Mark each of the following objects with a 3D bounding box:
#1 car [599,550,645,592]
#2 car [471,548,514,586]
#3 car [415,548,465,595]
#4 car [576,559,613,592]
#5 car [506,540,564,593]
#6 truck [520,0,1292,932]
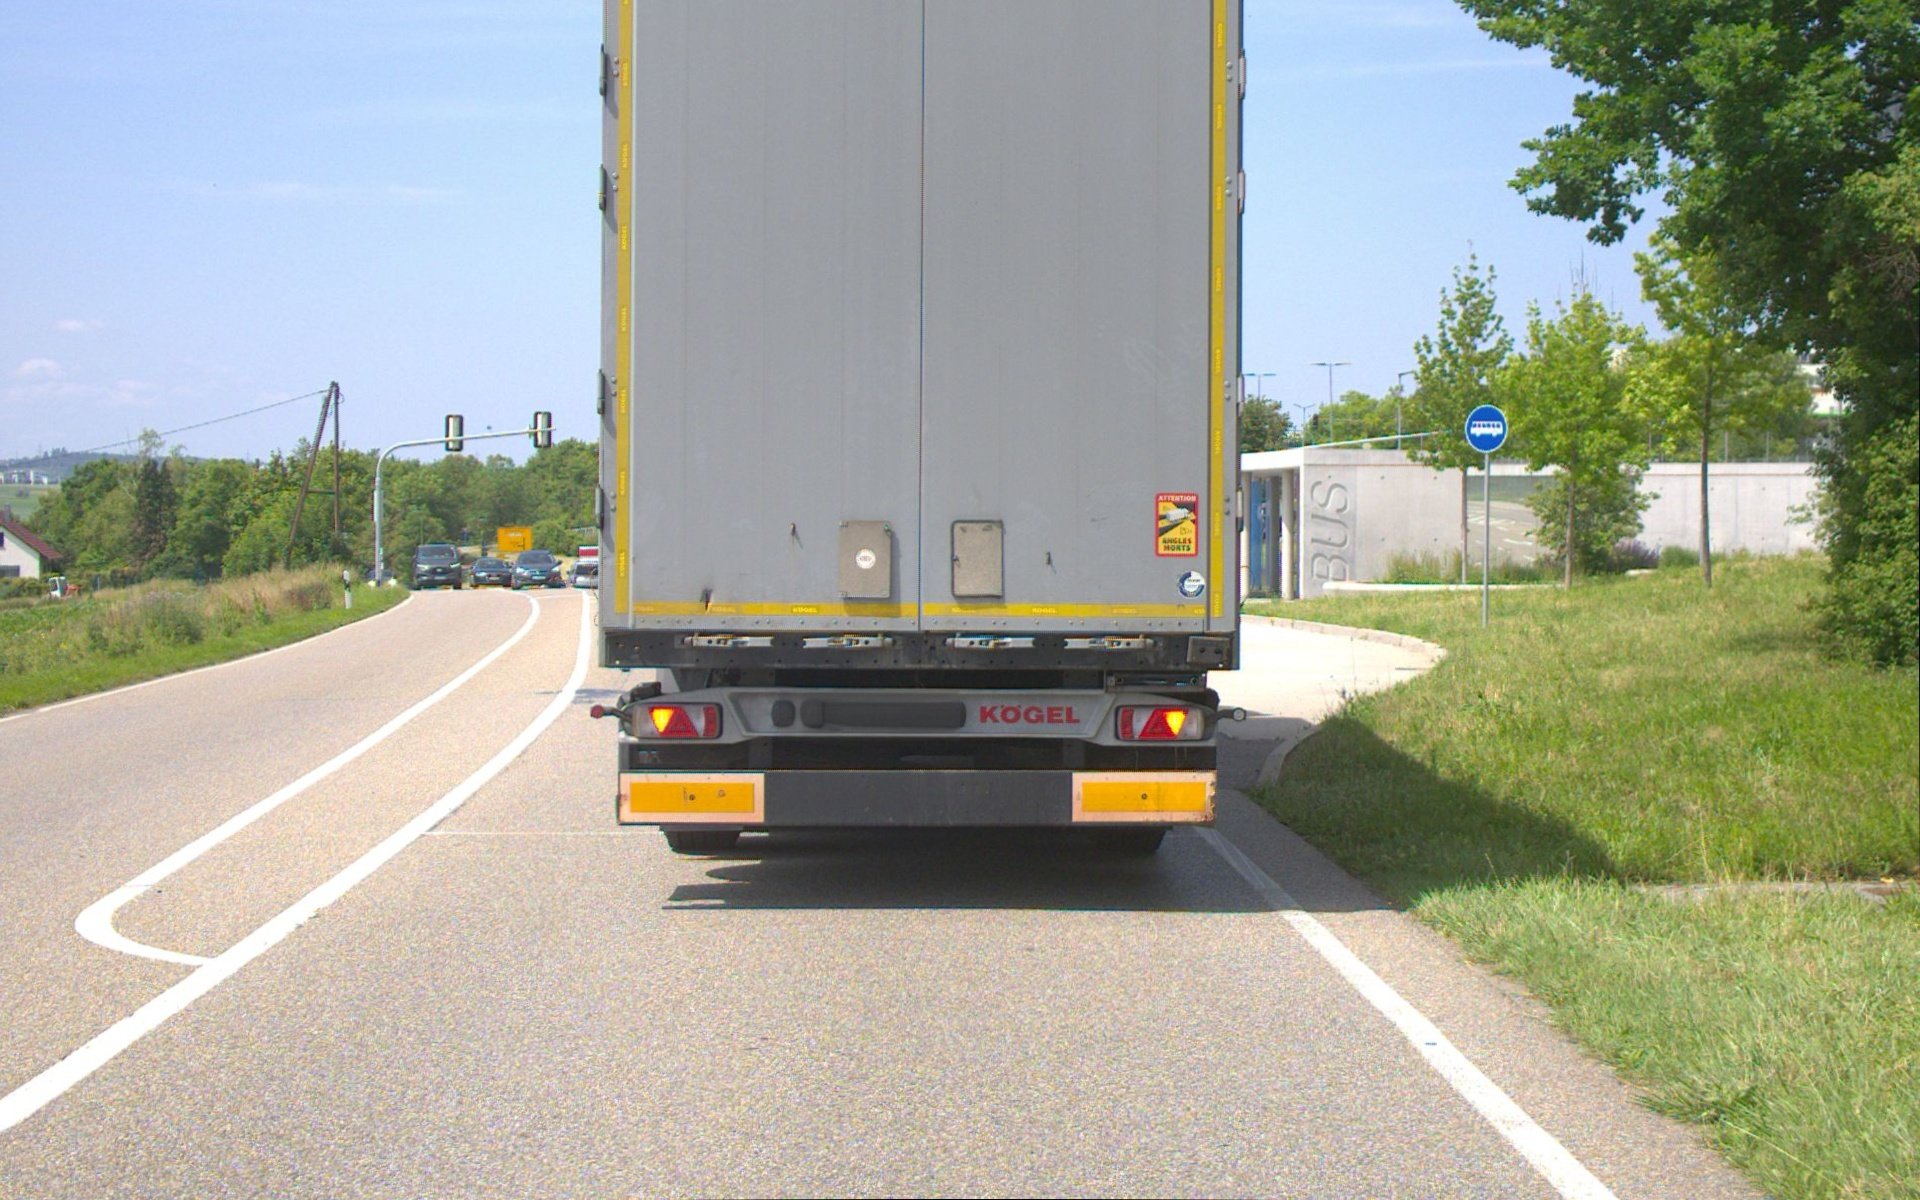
[{"bbox_3d":[-17.170,-1.484,174.712,2.171,2.007,4.527,-2,1,-4],"label":"car"},{"bbox_3d":[-23.215,-1.653,170.905,1.993,1.809,4.297,-2,1,-7],"label":"car"},{"bbox_3d":[-22.871,-1.264,151.302,1.993,1.971,5.280,-2,1,-7],"label":"car"},{"bbox_3d":[-20.700,-1.379,194.694,1.892,1.771,4.387,-2,1,-4],"label":"car"},{"bbox_3d":[-16.372,-1.318,132.589,1.993,1.943,4.503,-2,1,-5],"label":"car"},{"bbox_3d":[-0.376,-1.023,17.624,2.907,4.395,8.861,1,1,-2],"label":"truck"}]
